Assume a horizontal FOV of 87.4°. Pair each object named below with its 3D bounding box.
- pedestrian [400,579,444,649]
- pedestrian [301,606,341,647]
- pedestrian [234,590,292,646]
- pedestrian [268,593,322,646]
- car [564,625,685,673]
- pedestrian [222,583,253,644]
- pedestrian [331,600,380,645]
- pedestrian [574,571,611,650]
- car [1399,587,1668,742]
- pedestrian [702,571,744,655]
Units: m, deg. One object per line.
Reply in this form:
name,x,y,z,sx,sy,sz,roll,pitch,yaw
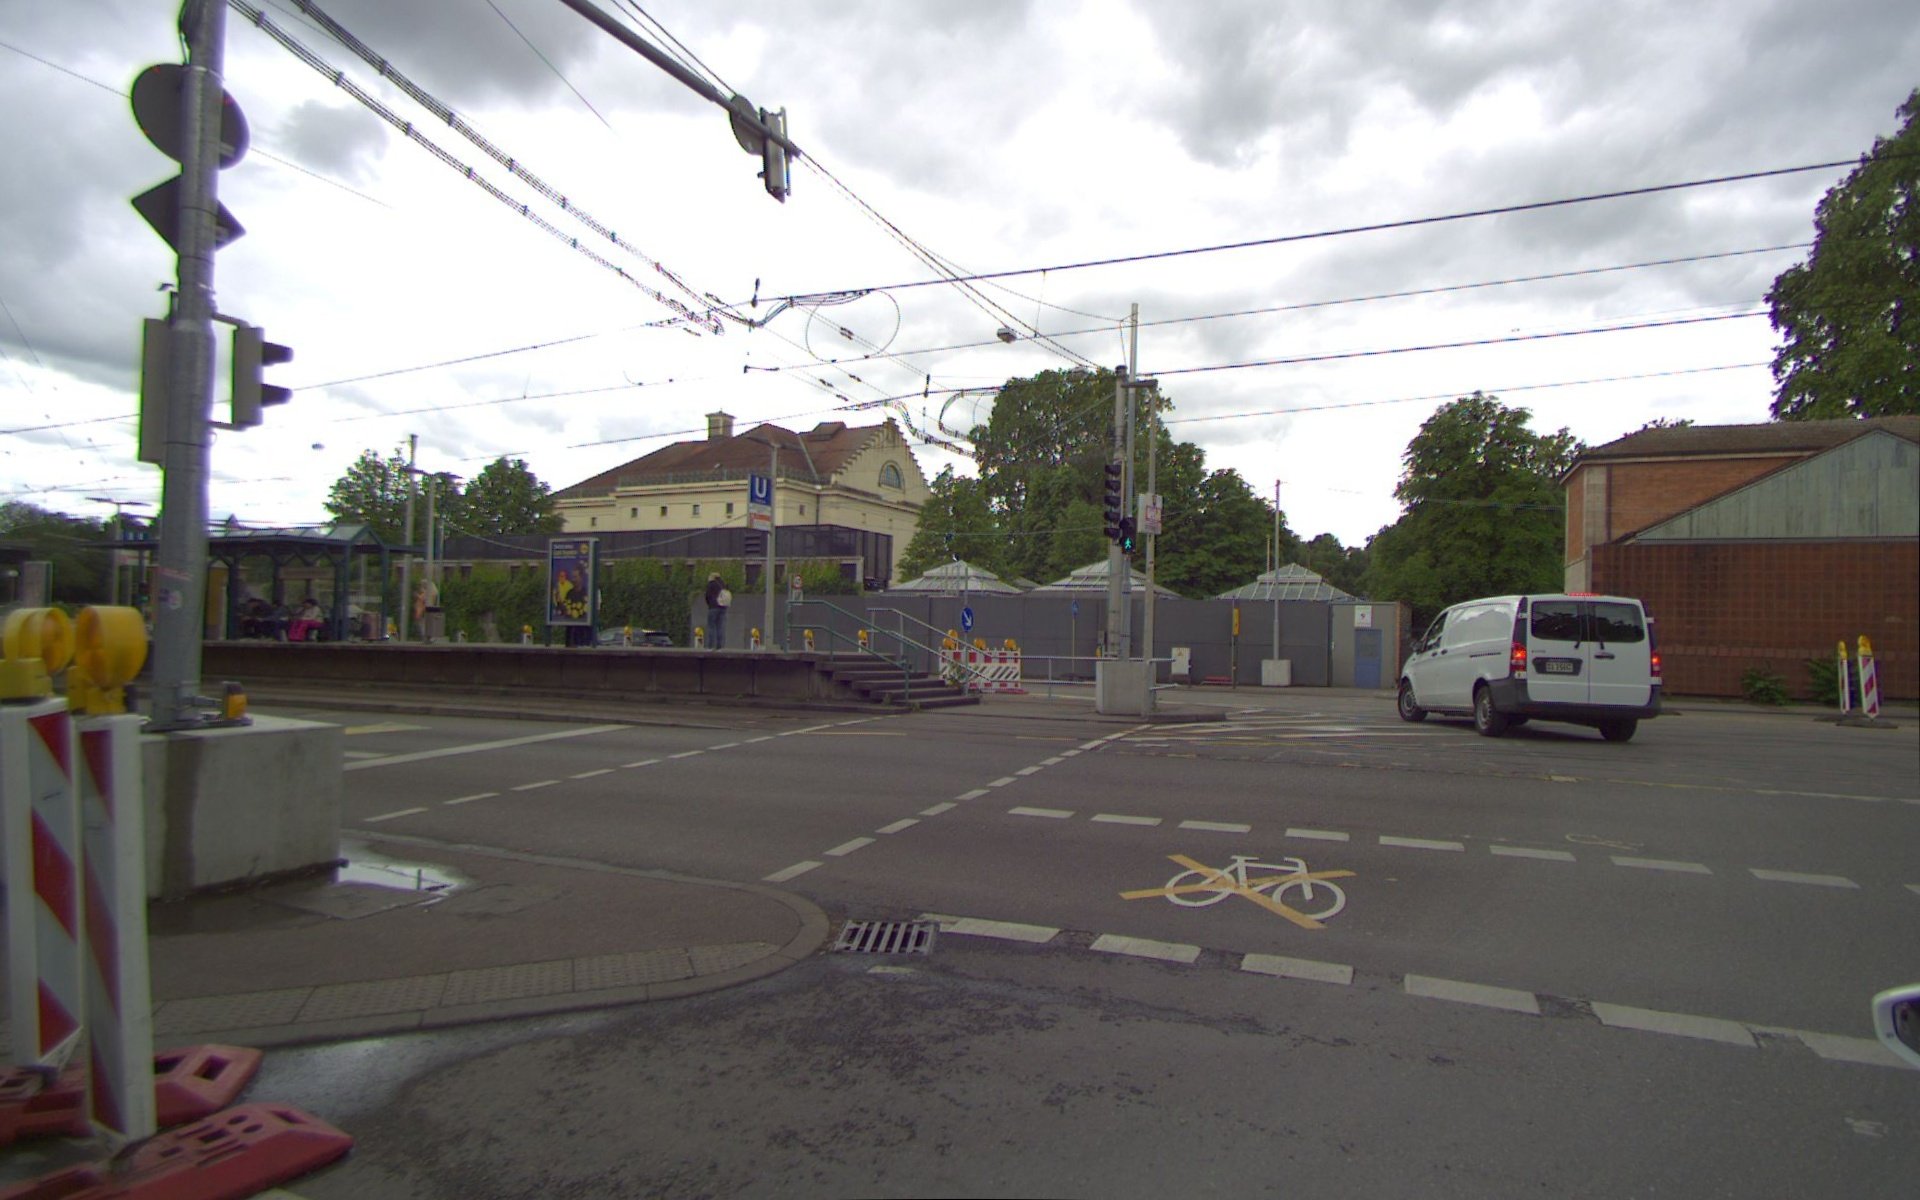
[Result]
pedestrian,-13.410,0.358,25.051,0.531,1.698,0.778,-1,-3,24
pedestrian,-16.091,0.672,25.297,0.504,0.992,0.663,-1,-3,24
pedestrian,-17.907,0.455,25.811,0.918,1.390,0.821,1,-2,26
pedestrian,-16.869,0.501,25.492,0.759,1.286,0.809,1,-2,26
car,-11.933,1.725,35.743,3.924,1.572,1.756,0,-3,25
pedestrian,-20.338,0.388,28.294,0.474,1.662,0.594,3,-2,-19
pedestrian,-15.779,0.588,26.226,0.639,1.137,0.821,1,-2,26
pedestrian,-8.107,0.235,22.170,0.587,1.721,0.458,-1,-3,24
car,8.186,0.915,14.920,1.884,1.926,4.706,0,-3,9
pedestrian,-4.663,0.268,19.758,0.515,1.630,0.598,-1,-3,24
